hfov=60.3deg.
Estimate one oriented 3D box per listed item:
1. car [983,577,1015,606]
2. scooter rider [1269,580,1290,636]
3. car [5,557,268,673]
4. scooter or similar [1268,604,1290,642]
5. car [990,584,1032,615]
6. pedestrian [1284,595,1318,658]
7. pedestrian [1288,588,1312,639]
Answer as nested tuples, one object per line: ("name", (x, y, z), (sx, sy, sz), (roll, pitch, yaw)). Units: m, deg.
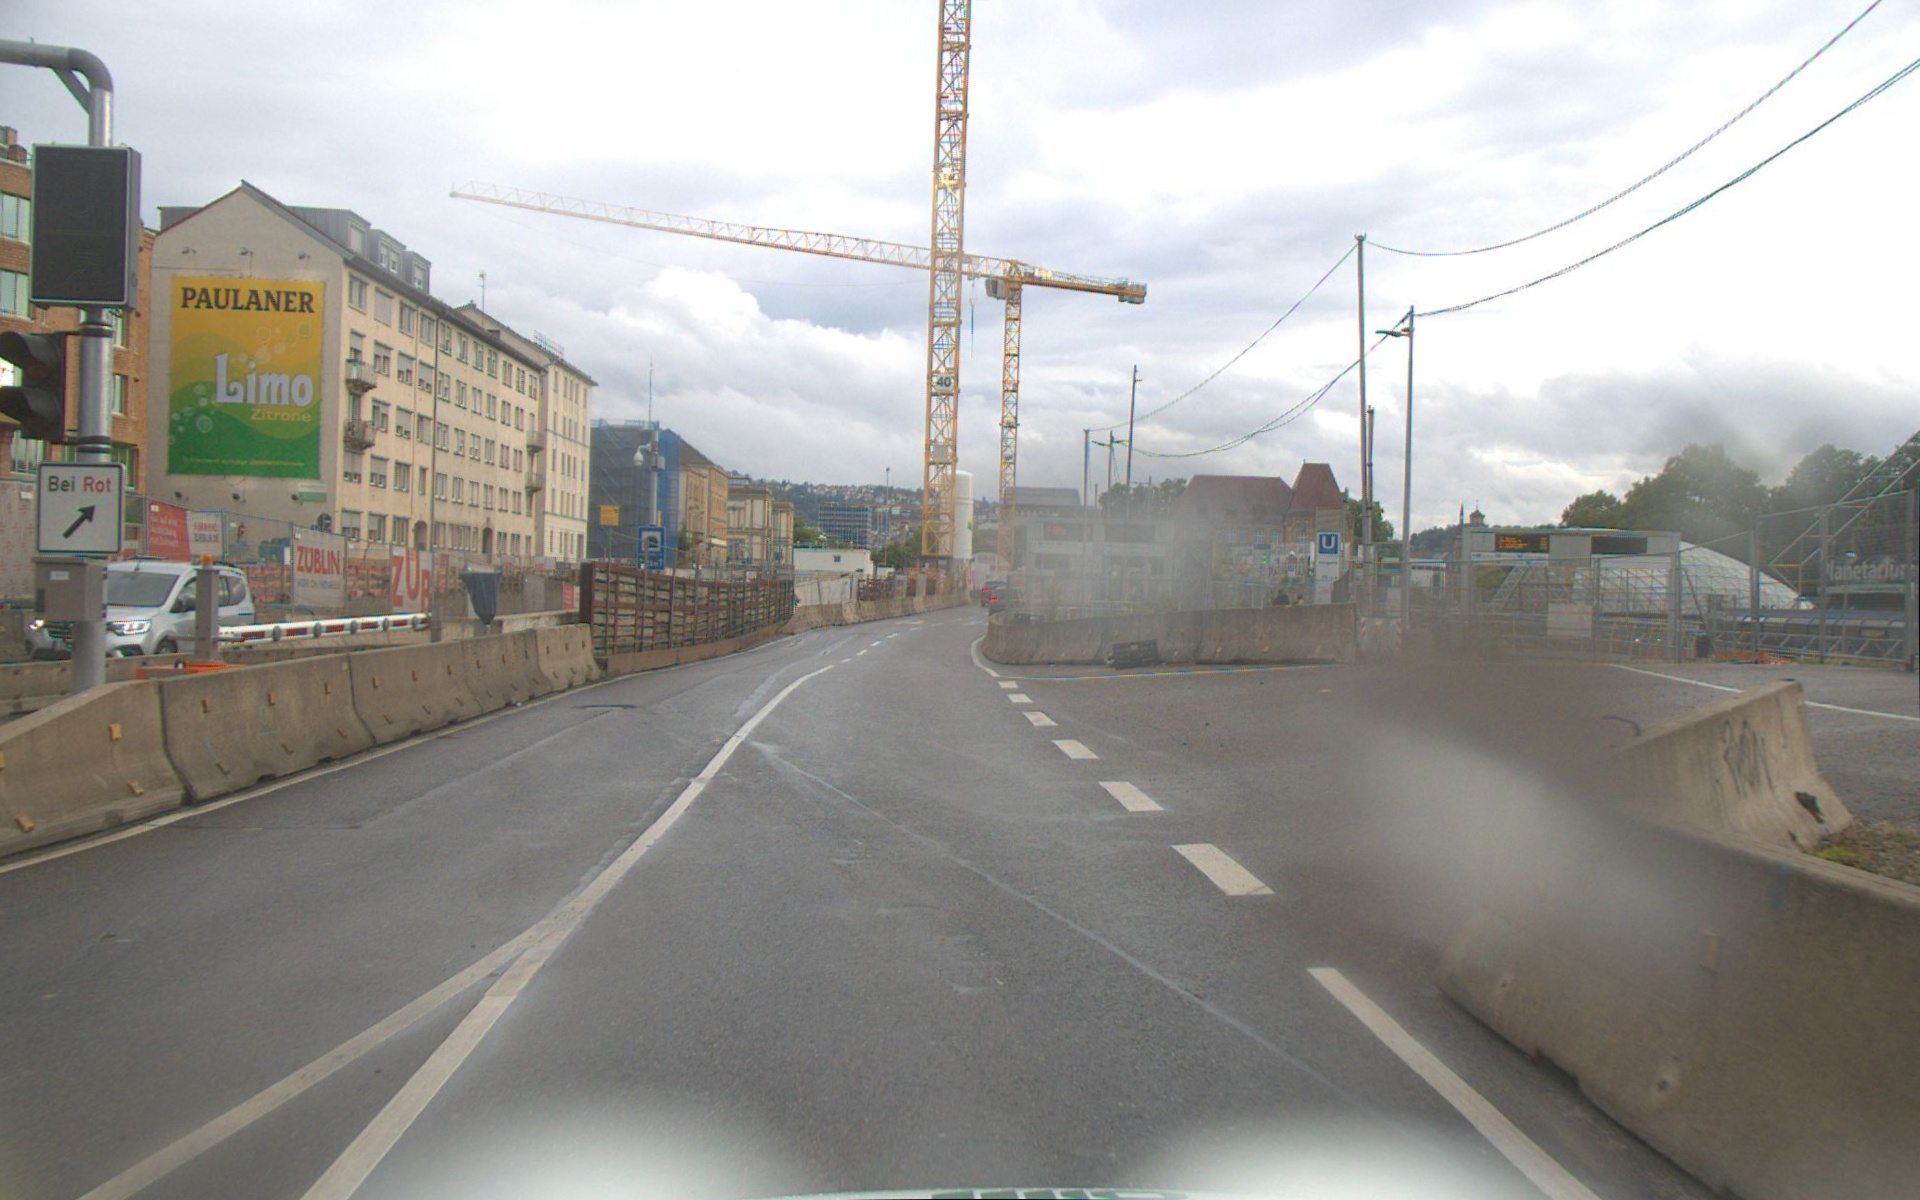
("car", (2.391, -0.531, 100.987), (1.824, 1.689, 4.658), (2, 1, 2))
("scooter rider", (10.270, 0.252, 53.123), (0.510, 1.786, 0.699), (1, 1, 22))
("car", (-12.240, 0.167, 24.933), (1.711, 1.576, 4.523), (1, 1, 0))
("scooter or similar", (10.264, 0.726, 53.129), (0.481, 1.200, 1.096), (1, 1, 22))
("car", (2.502, -0.022, 80.751), (1.823, 1.458, 4.659), (1, 0, 5))
("pedestrian", (9.777, 0.752, 47.424), (0.677, 1.809, 0.813), (1, 0, -11))
("pedestrian", (12.161, 0.480, 59.152), (0.675, 1.809, 1.023), (1, 0, 1))
